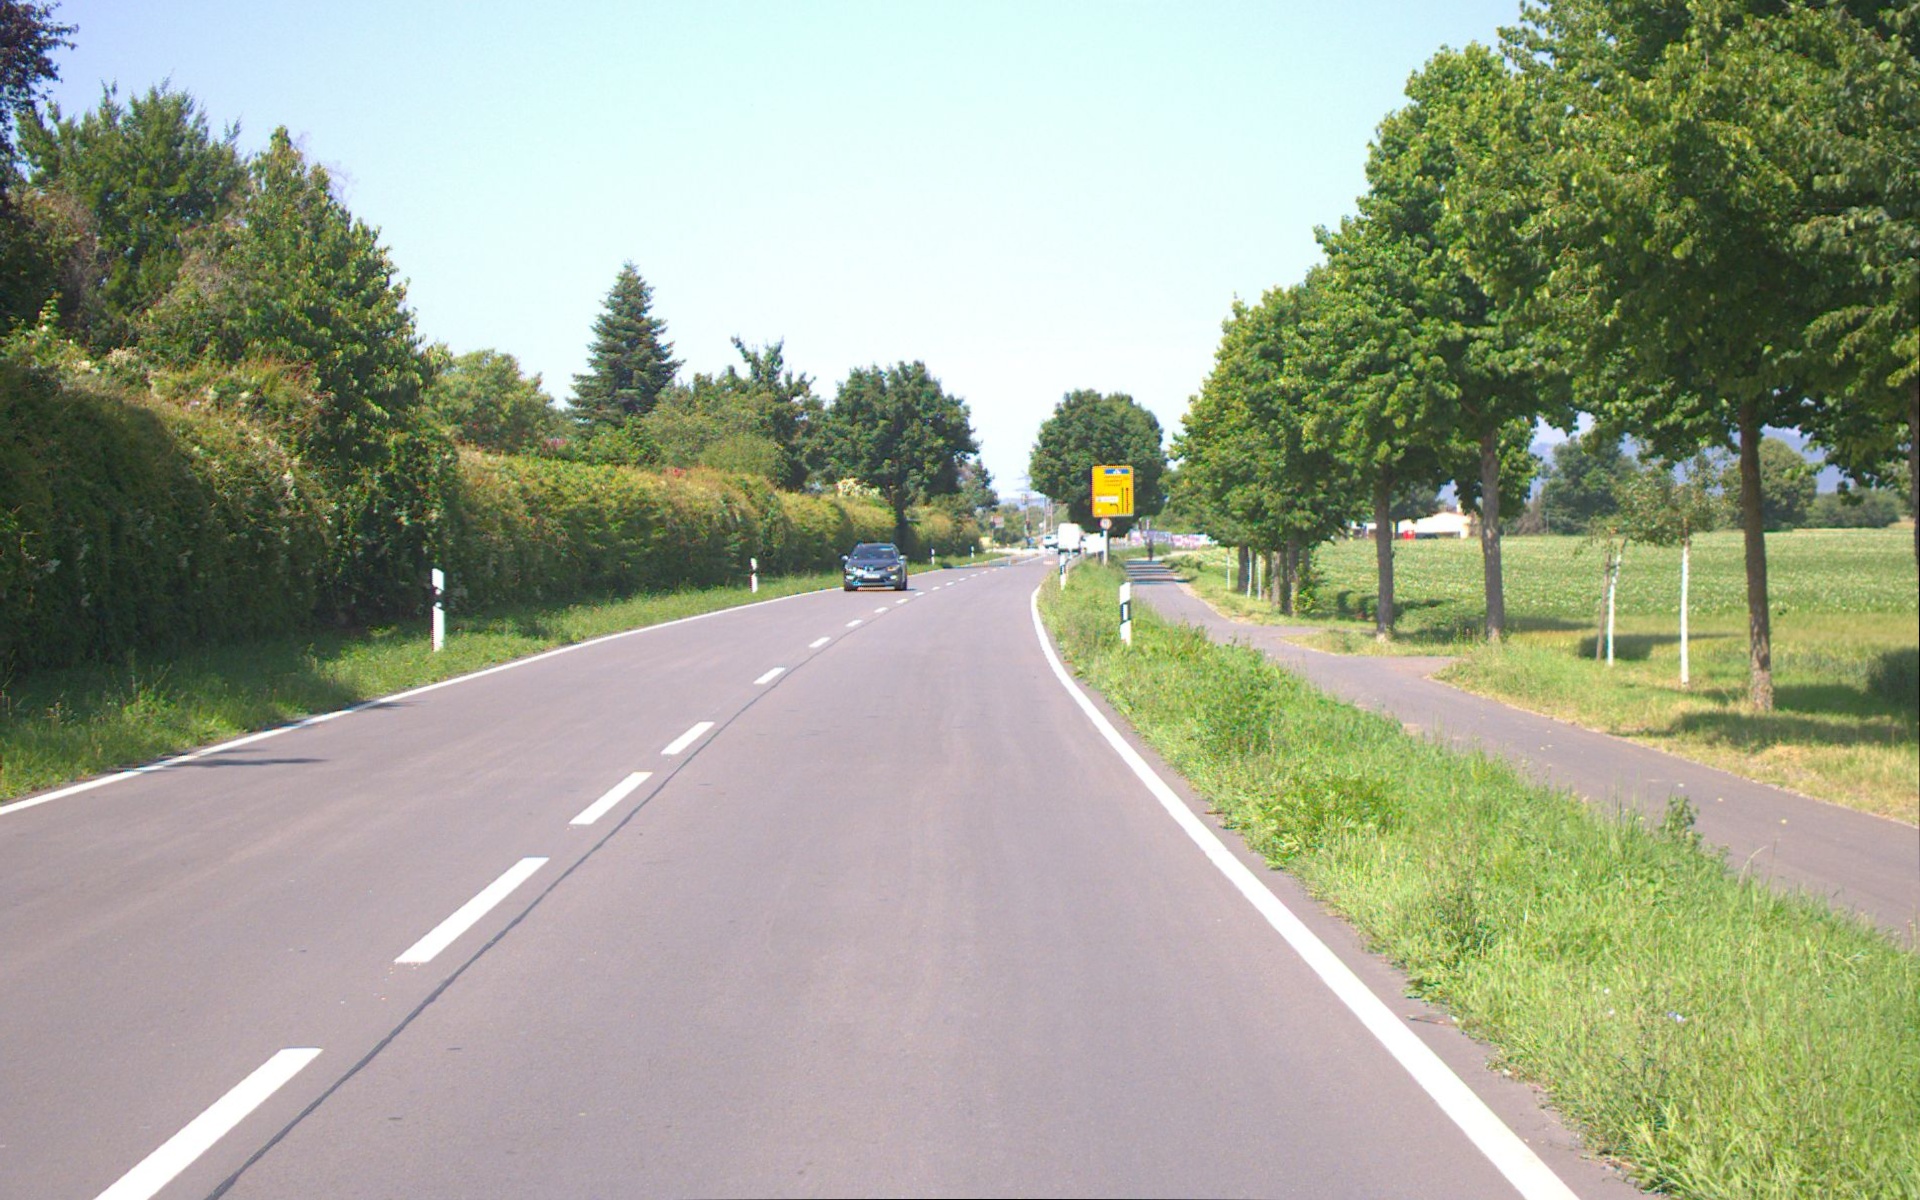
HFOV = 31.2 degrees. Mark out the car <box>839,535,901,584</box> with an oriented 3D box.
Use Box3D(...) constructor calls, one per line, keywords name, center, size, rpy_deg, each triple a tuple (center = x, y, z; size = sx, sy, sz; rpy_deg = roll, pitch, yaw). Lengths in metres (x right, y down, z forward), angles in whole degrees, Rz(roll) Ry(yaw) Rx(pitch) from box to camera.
Box3D(name="car", center=(-2.751, -1.256, 105.909), size=(1.840, 1.462, 3.933), rpy_deg=(-1, 1, -1))
